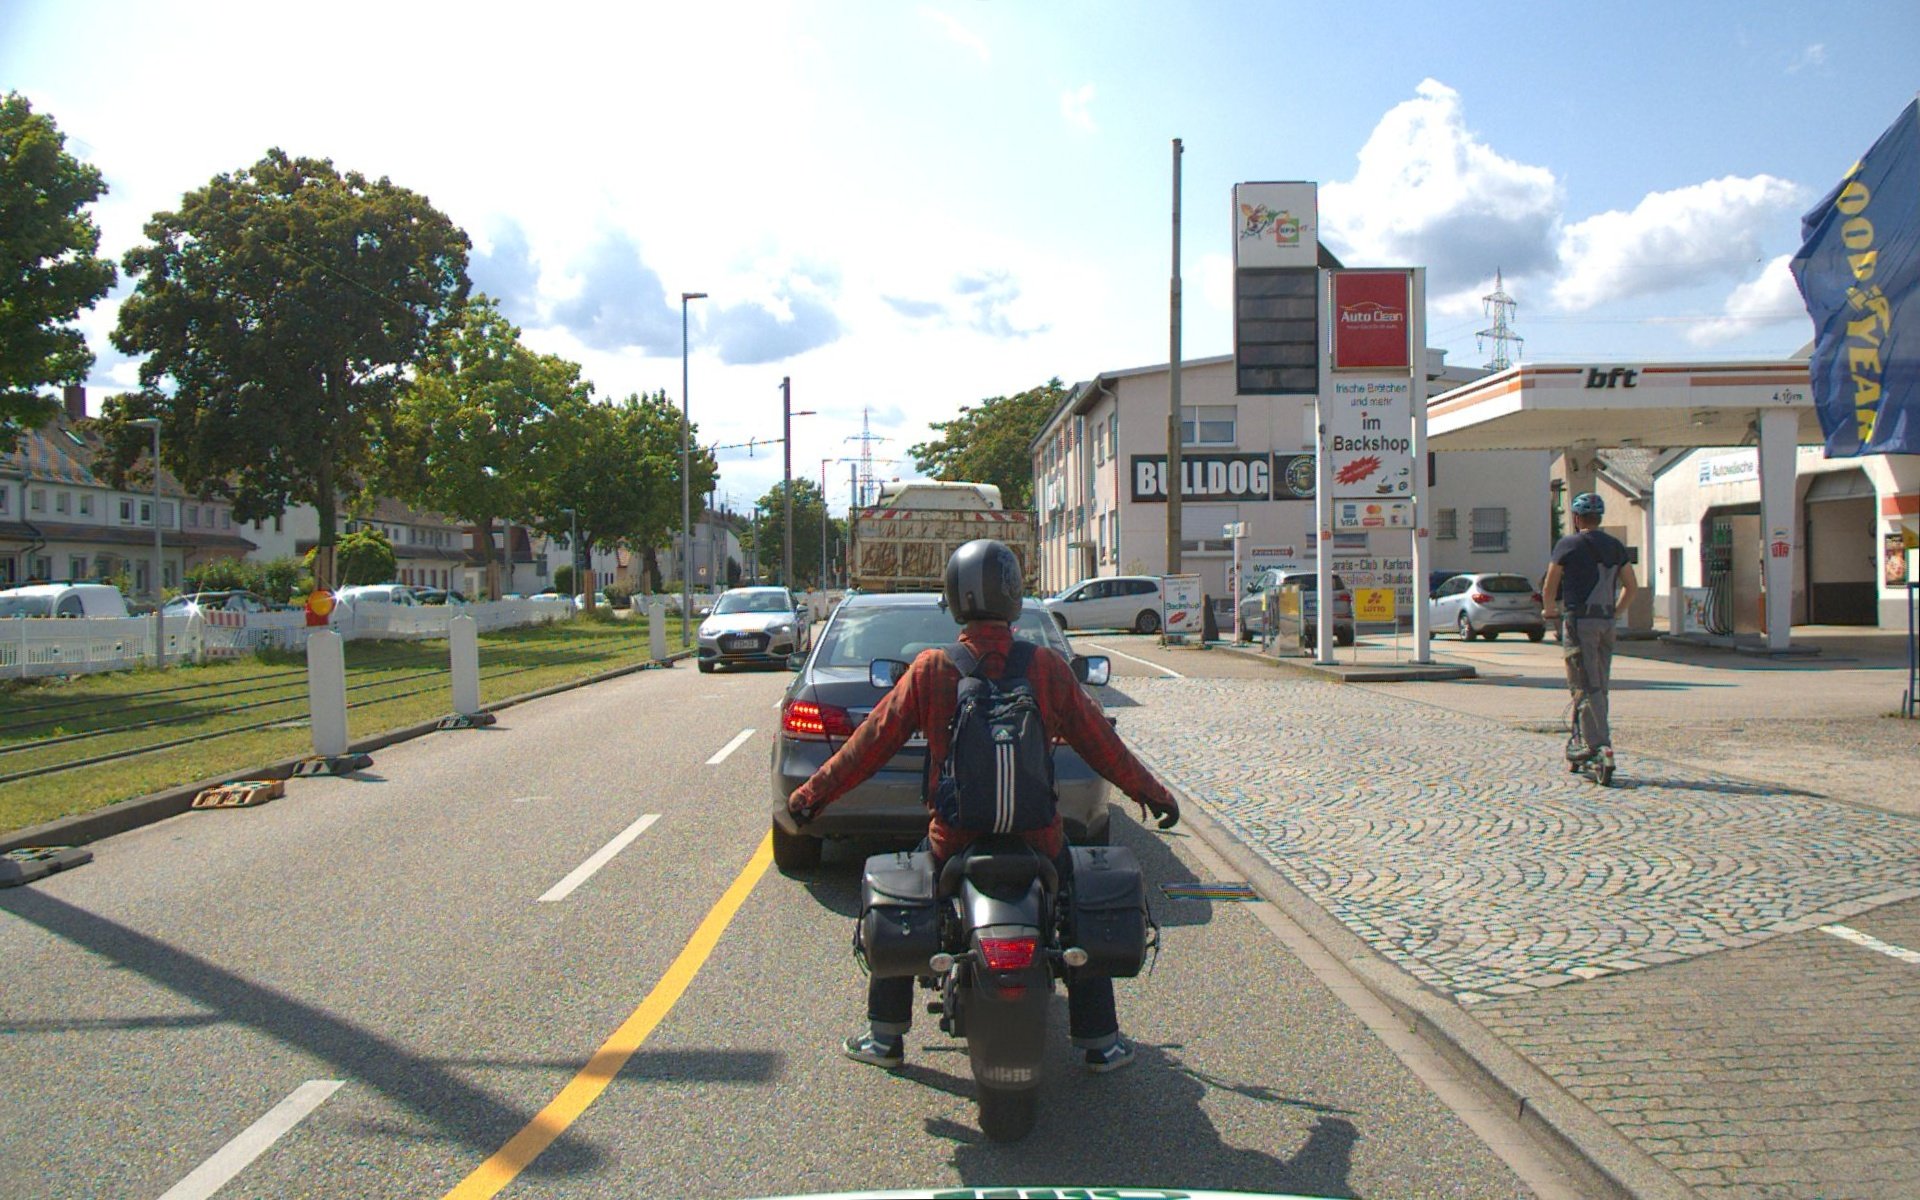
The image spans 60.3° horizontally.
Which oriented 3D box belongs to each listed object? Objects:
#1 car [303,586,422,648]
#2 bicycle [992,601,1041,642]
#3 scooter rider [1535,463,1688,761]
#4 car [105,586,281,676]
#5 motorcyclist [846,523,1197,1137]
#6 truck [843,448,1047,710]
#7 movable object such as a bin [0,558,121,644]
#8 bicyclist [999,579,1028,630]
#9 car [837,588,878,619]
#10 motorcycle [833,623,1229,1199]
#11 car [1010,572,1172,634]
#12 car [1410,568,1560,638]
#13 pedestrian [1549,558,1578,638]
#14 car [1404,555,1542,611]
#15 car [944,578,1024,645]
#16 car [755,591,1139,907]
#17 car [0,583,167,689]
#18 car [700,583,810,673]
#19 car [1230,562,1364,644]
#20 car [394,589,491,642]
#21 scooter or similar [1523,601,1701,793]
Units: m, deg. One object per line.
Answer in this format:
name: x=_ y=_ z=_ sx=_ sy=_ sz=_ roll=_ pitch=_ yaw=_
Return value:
car: x=-16.977 y=0.478 z=47.214 sx=1.953 sy=1.634 sz=3.999 roll=-2 pitch=0 yaw=-1
bicycle: x=2.010 y=0.745 z=58.361 sx=0.680 sy=1.385 sz=2.414 roll=-1 pitch=1 yaw=30
scooter rider: x=4.542 y=0.080 z=11.573 sx=0.702 sy=1.997 sz=0.785 roll=-1 pitch=-1 yaw=-1
car: x=-16.519 y=0.641 z=35.846 sx=1.953 sy=1.780 sz=3.999 roll=-2 pitch=0 yaw=-1
motorcyclist: x=0.159 y=0.621 z=5.073 sx=0.920 sy=1.643 sz=1.204 roll=1 pitch=0 yaw=-1
truck: x=-0.213 y=-0.402 z=26.054 sx=2.557 sy=3.312 sz=9.182 roll=-2 pitch=2 yaw=0
movable object such as a bin: x=-27.804 y=0.019 z=49.879 sx=4.277 sy=2.492 sz=1.776 roll=-1 pitch=0 yaw=-23
bicyclist: x=1.887 y=0.169 z=58.143 sx=0.660 sy=1.774 sz=0.810 roll=-1 pitch=0 yaw=39
car: x=-5.022 y=0.165 z=81.577 sx=1.809 sy=1.411 sz=4.343 roll=-2 pitch=0 yaw=-1
motorcycle: x=0.151 y=0.776 z=5.254 sx=0.920 sy=1.343 sz=2.644 roll=1 pitch=0 yaw=-1
car: x=3.703 y=0.082 z=47.261 sx=4.250 sy=1.579 sz=1.946 roll=-2 pitch=0 yaw=-9
car: x=11.799 y=0.060 z=37.462 sx=1.920 sy=1.445 sz=3.998 roll=-2 pitch=0 yaw=-3
pedestrian: x=13.072 y=-0.039 z=35.828 sx=0.388 sy=1.718 sz=0.485 roll=-2 pitch=0 yaw=0
car: x=16.924 y=-0.546 z=54.661 sx=3.906 sy=1.677 sz=1.965 roll=-2 pitch=0 yaw=-2
car: x=0.528 y=0.226 z=38.932 sx=1.784 sy=1.489 sz=4.000 roll=0 pitch=1 yaw=0
car: x=-0.087 y=0.682 z=9.724 sx=1.784 sy=1.449 sz=3.999 roll=0 pitch=1 yaw=-1
car: x=-16.510 y=0.638 z=30.384 sx=1.953 sy=1.780 sz=3.999 roll=-2 pitch=0 yaw=-1
car: x=-3.685 y=0.445 z=30.304 sx=1.622 sy=1.472 sz=4.301 roll=-2 pitch=1 yaw=-3
car: x=7.390 y=0.066 z=36.660 sx=1.920 sy=1.677 sz=3.998 roll=-2 pitch=0 yaw=-3
car: x=-17.103 y=0.486 z=54.857 sx=1.953 sy=1.634 sz=3.999 roll=-2 pitch=0 yaw=-1
scooter or similar: x=4.481 y=0.626 z=11.473 sx=0.529 sy=1.216 sz=1.610 roll=-2 pitch=0 yaw=-1
